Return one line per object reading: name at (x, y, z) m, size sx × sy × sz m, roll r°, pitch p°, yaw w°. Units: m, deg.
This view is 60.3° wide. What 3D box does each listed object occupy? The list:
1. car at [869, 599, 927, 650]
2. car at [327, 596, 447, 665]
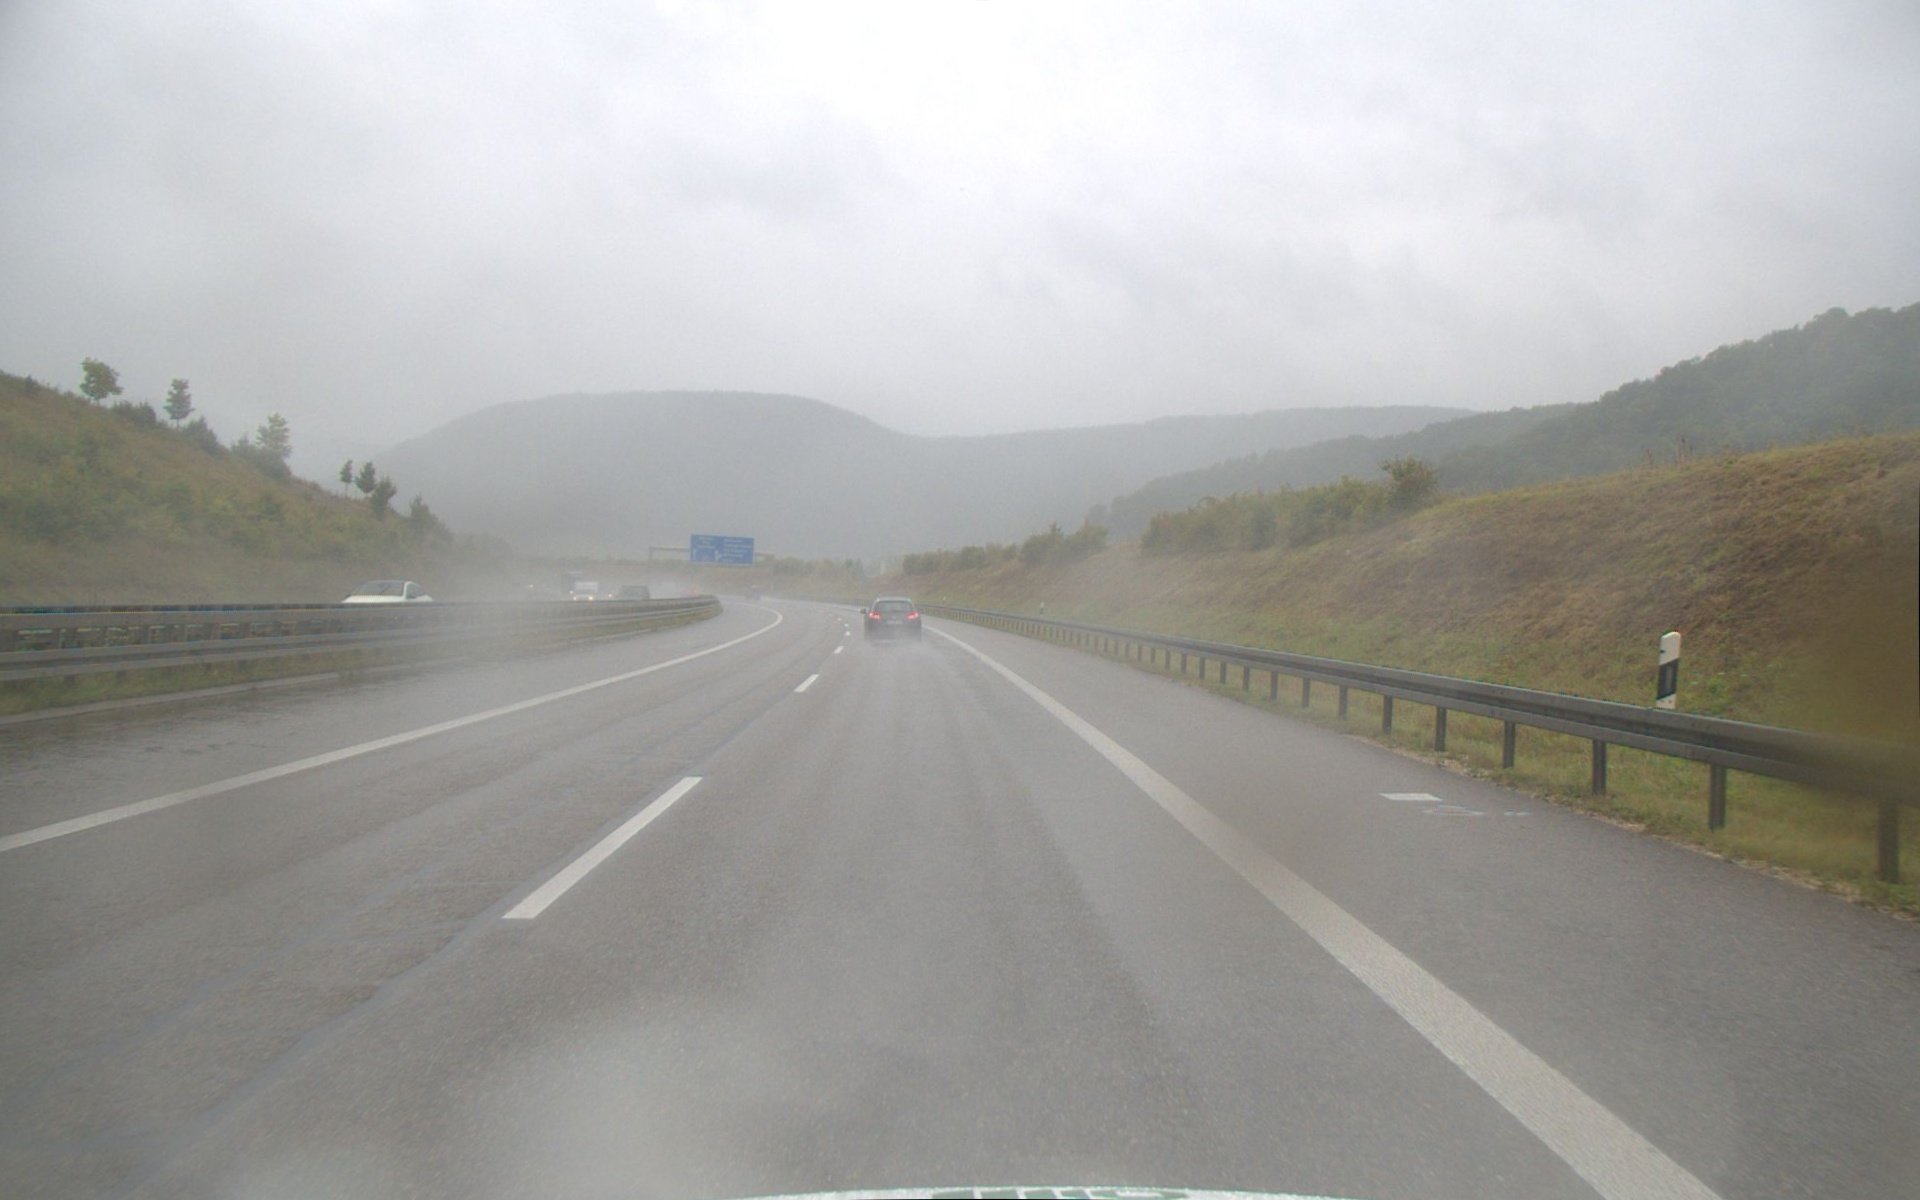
car at (-1.972, 0.729, 51.774) m, size 1.646 × 1.498 × 3.811 m, roll 1°, pitch 0°, yaw -5°
car at (-17.857, 0.902, 51.831) m, size 1.953 × 2.049 × 5.388 m, roll 1°, pitch 0°, yaw -1°
